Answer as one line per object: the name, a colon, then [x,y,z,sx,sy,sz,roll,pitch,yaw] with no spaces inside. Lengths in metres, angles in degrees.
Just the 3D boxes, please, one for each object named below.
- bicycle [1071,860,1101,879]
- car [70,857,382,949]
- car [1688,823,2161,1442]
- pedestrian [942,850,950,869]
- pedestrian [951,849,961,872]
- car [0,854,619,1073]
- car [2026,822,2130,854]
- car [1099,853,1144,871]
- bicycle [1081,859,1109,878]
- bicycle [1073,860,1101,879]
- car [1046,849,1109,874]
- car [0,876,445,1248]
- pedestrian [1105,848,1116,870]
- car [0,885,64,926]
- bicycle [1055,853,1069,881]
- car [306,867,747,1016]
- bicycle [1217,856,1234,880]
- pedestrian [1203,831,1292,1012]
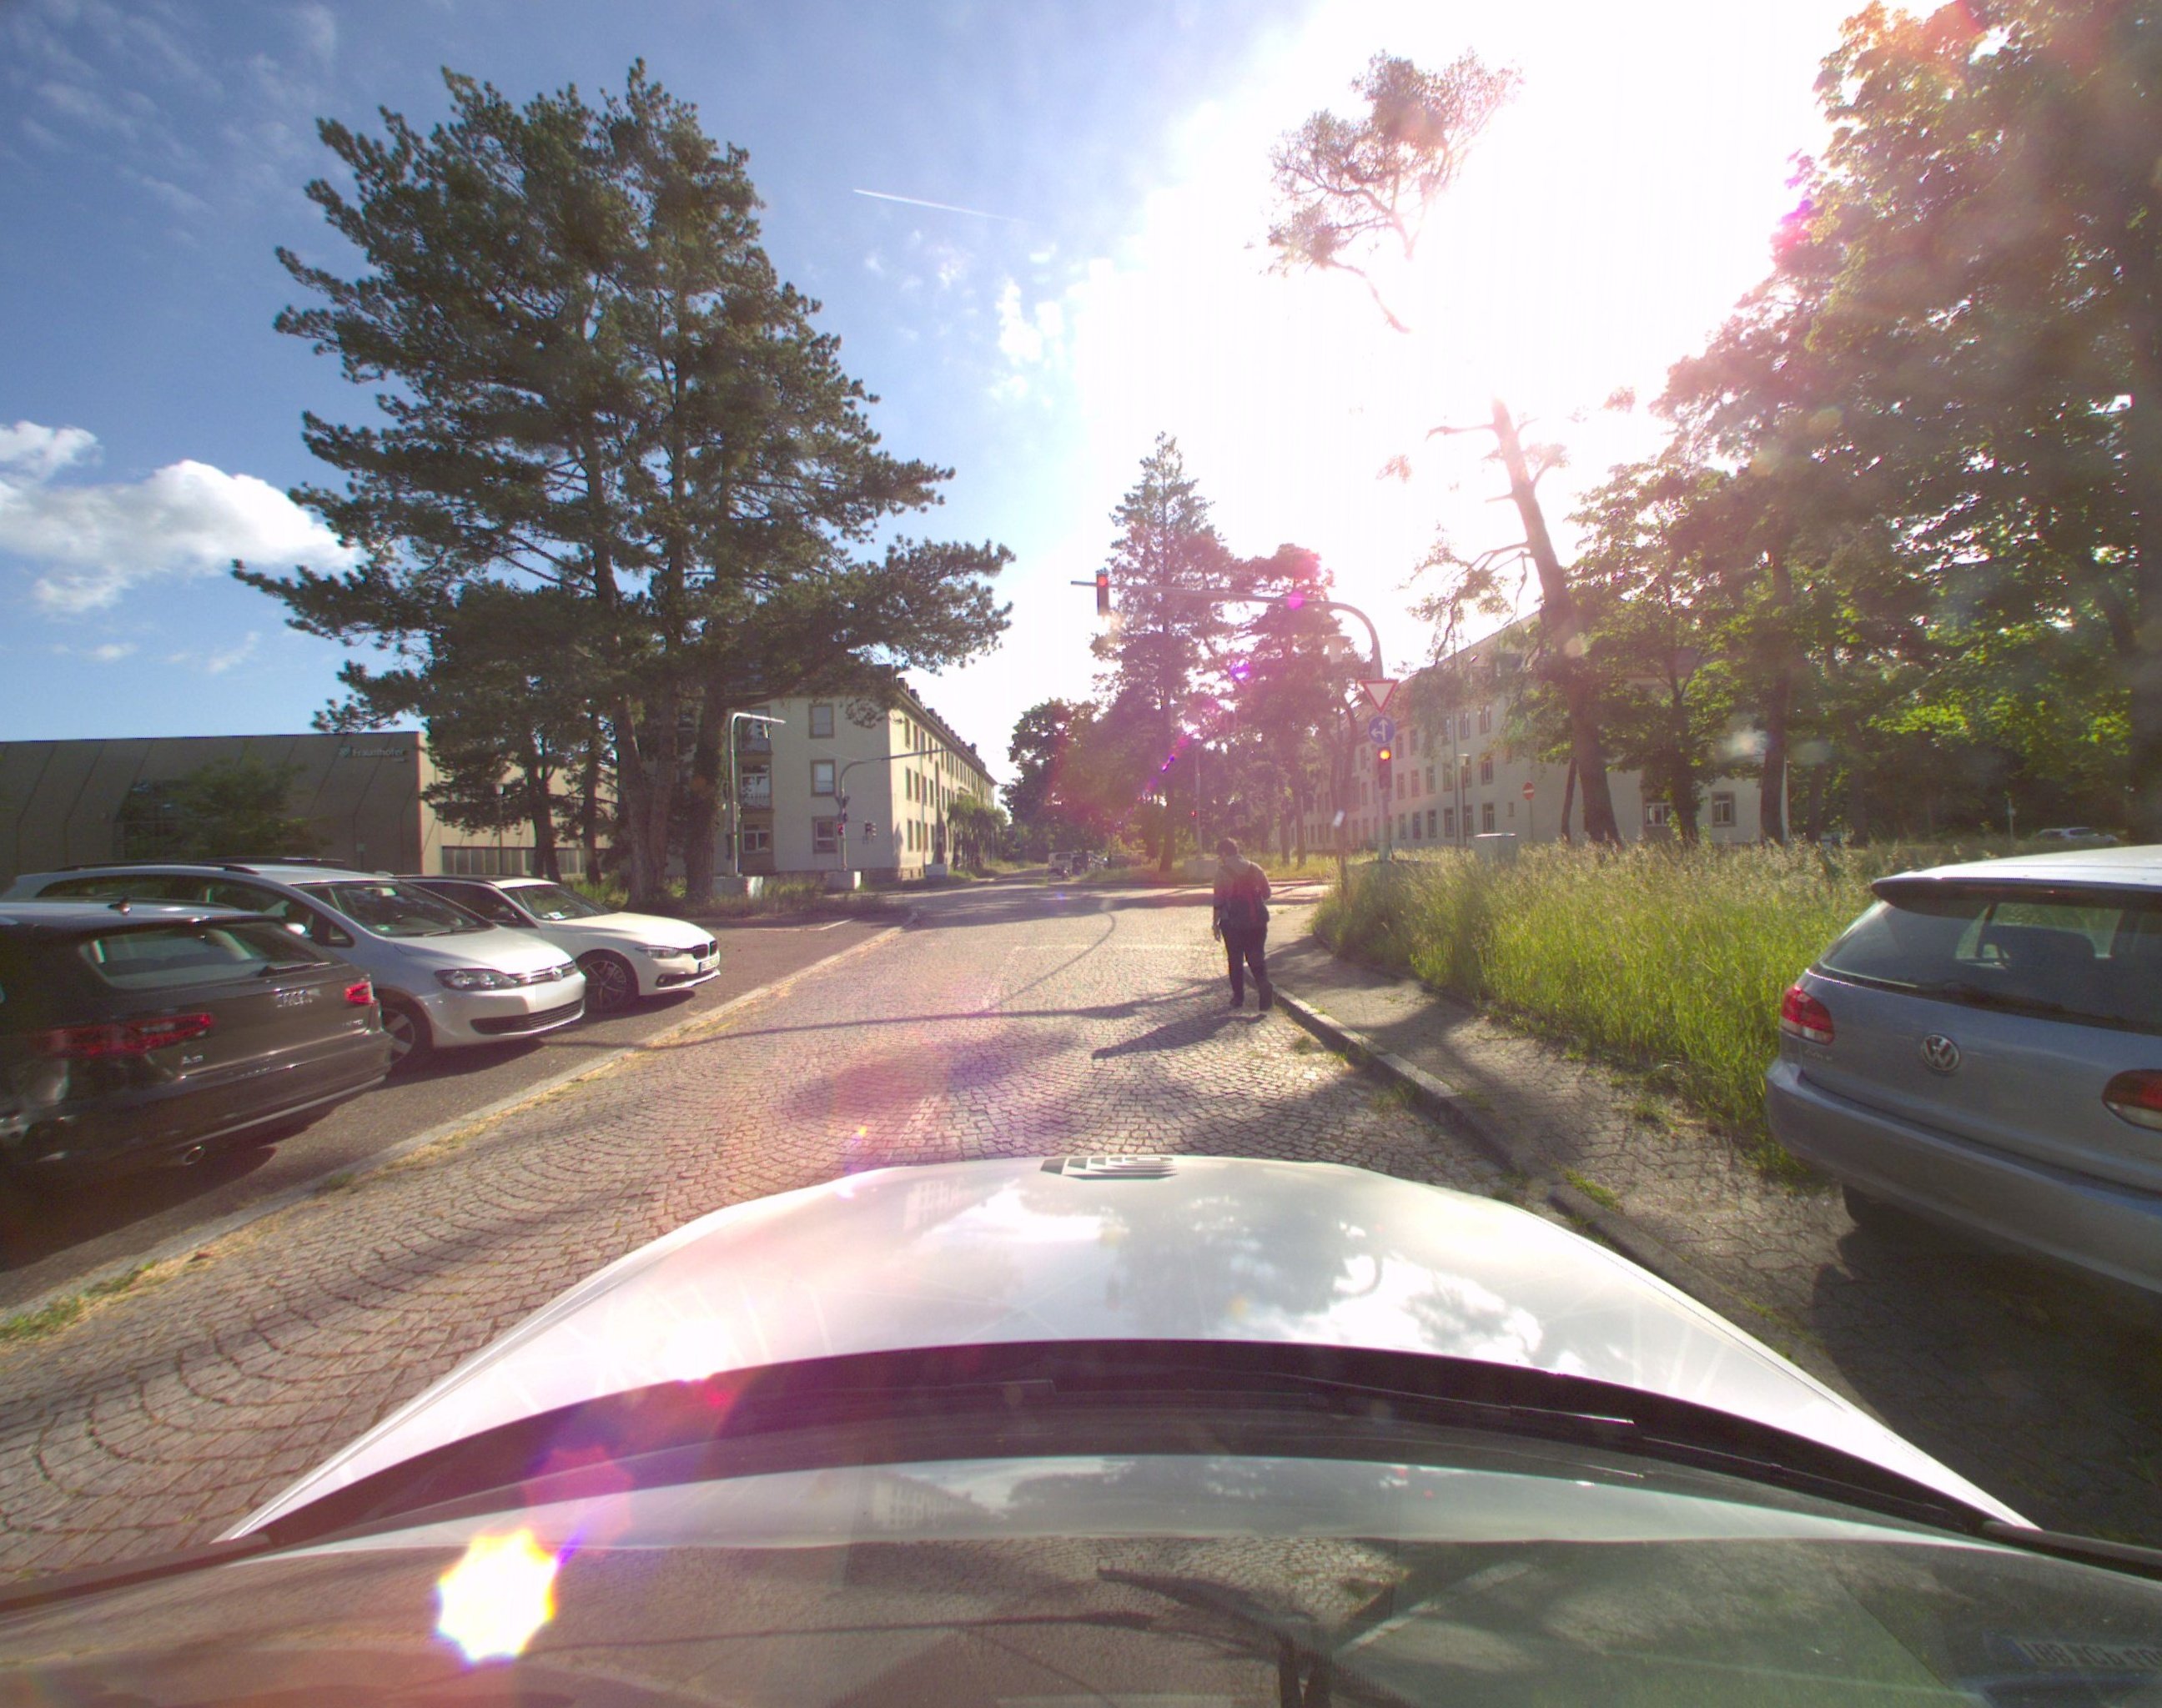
bicycle: [0.289,0.972,51.437,1.831,1.112,0.494,-2,0,-5]
car: [-17.161,0.938,16.535,4.131,1.608,2.009,-2,0,0]
car: [4.402,0.600,2.601,3.663,1.443,1.664,-3,0,-1]
pedestrian: [-10.818,0.436,65.166,0.606,1.560,0.544,-1,0,-8]
pedestrian: [-10.066,0.524,65.524,0.610,1.752,0.624,-1,0,-30]
car: [-6.364,0.827,6.916,3.870,1.615,1.659,1,0,-2]
car: [56.488,-0.867,46.189,3.622,1.671,1.767,-2,0,1]
car: [3.602,0.707,73.320,3.742,1.580,1.736,-1,0,-9]
bicycle: [0.887,0.922,52.697,1.724,1.164,0.560,-2,0,-5]
bicycle: [0.350,0.972,51.983,1.724,1.112,0.483,-2,0,-5]
car: [-0.291,0.639,69.310,5.068,1.918,1.993,-2,0,-11]
car: [-5.947,0.875,4.170,3.927,1.445,1.689,2,0,-2]
pedestrian: [2.418,0.427,67.813,0.759,1.783,0.682,-2,0,-9]
car: [-49.204,2.379,36.615,1.858,1.778,4.004,-2,0,2]
bicycle: [-1.106,0.763,47.957,0.751,1.580,2.535,-1,0,-1]
car: [-6.293,0.935,9.545,3.970,1.496,1.774,1,0,3]
bicycle: [7.030,0.666,39.705,0.717,1.115,2.590,-2,0,9]
pedestrian: [1.653,0.647,8.184,0.750,1.725,0.829,0,-1,2]
